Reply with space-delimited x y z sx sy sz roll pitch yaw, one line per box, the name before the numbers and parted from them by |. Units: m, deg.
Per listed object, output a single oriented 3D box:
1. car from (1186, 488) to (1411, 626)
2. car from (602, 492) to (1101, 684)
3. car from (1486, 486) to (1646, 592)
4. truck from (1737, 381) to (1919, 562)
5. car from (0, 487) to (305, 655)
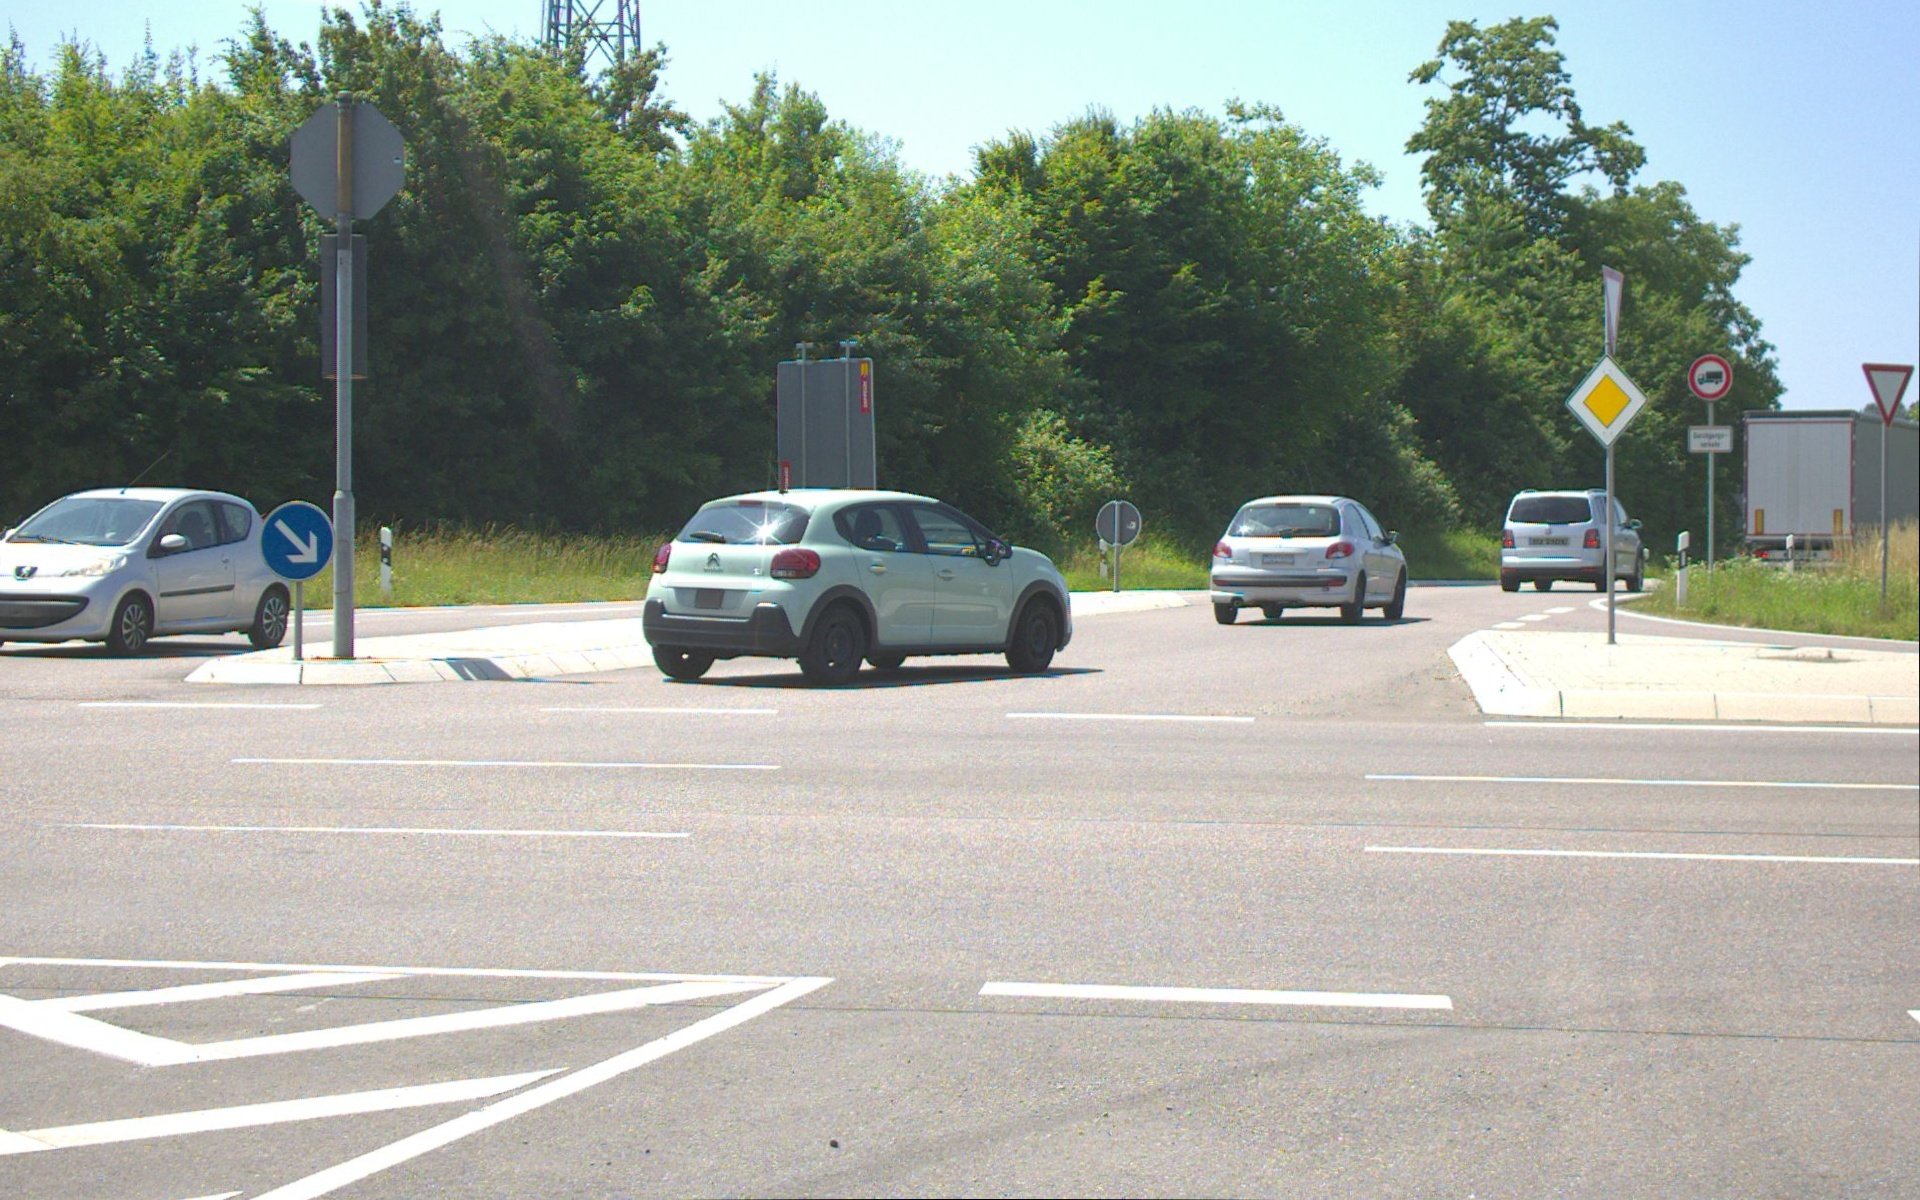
car | 3.874 -0.525 38.837 1.814 1.408 3.781 1 3 17
car | -0.783 -0.135 27.181 1.733 1.399 3.978 0 1 40
car | 9.993 -1.030 56.475 1.814 1.619 4.056 0 3 22
truck | 22.529 -3.142 87.142 3.129 4.158 16.669 1 2 21
car | -7.445 -0.305 30.678 1.567 1.366 3.528 1 3 20
